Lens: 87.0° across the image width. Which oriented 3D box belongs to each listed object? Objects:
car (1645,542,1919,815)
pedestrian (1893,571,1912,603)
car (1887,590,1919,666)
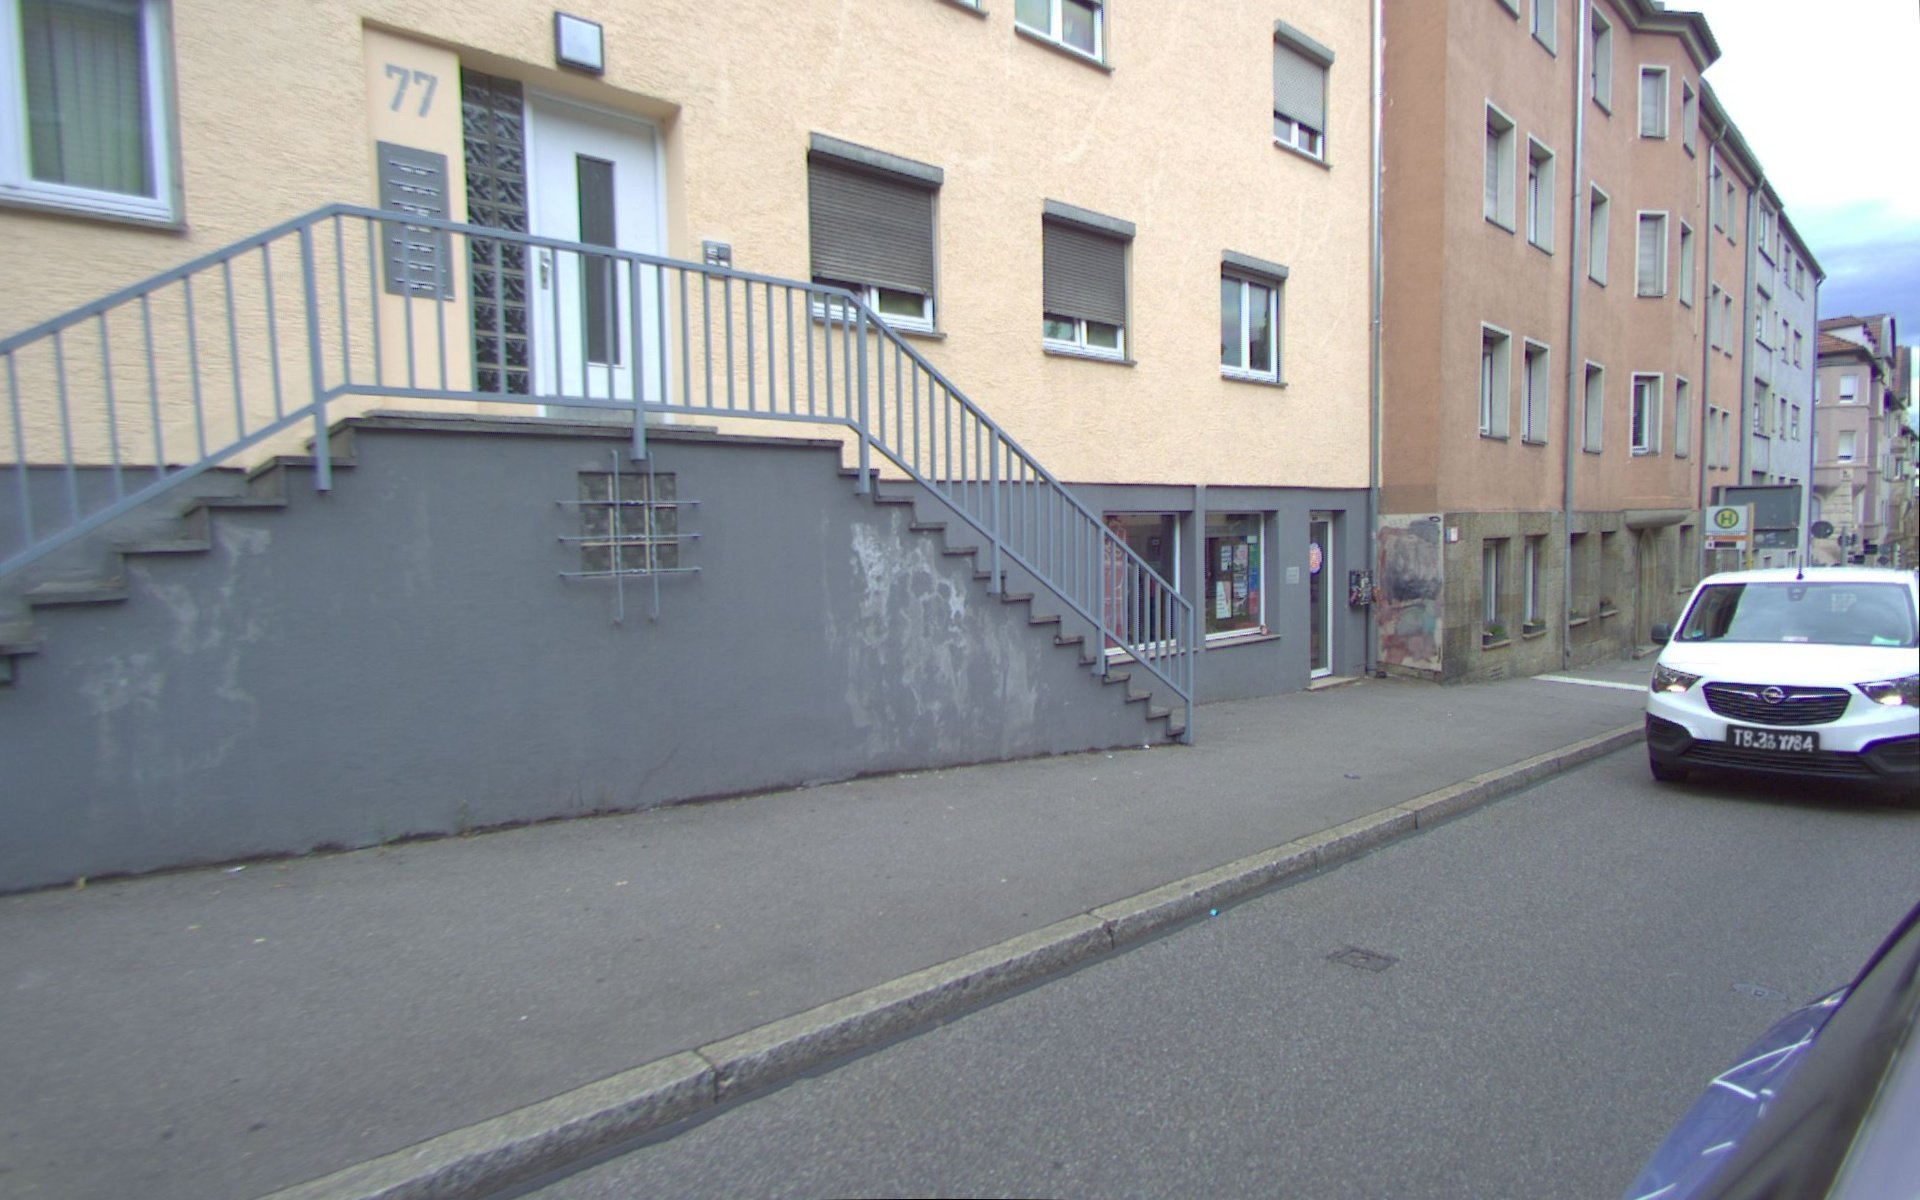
[{"bbox_3d":[7.616,0.480,8.859,4.765,1.811,1.785,-1,1,-45],"label":"car"},{"bbox_3d":[50.598,-0.695,54.312,0.733,1.668,0.989,0,1,44],"label":"pedestrian"},{"bbox_3d":[22.241,0.569,22.812,4.096,1.628,1.776,-1,-1,-45],"label":"car"}]
